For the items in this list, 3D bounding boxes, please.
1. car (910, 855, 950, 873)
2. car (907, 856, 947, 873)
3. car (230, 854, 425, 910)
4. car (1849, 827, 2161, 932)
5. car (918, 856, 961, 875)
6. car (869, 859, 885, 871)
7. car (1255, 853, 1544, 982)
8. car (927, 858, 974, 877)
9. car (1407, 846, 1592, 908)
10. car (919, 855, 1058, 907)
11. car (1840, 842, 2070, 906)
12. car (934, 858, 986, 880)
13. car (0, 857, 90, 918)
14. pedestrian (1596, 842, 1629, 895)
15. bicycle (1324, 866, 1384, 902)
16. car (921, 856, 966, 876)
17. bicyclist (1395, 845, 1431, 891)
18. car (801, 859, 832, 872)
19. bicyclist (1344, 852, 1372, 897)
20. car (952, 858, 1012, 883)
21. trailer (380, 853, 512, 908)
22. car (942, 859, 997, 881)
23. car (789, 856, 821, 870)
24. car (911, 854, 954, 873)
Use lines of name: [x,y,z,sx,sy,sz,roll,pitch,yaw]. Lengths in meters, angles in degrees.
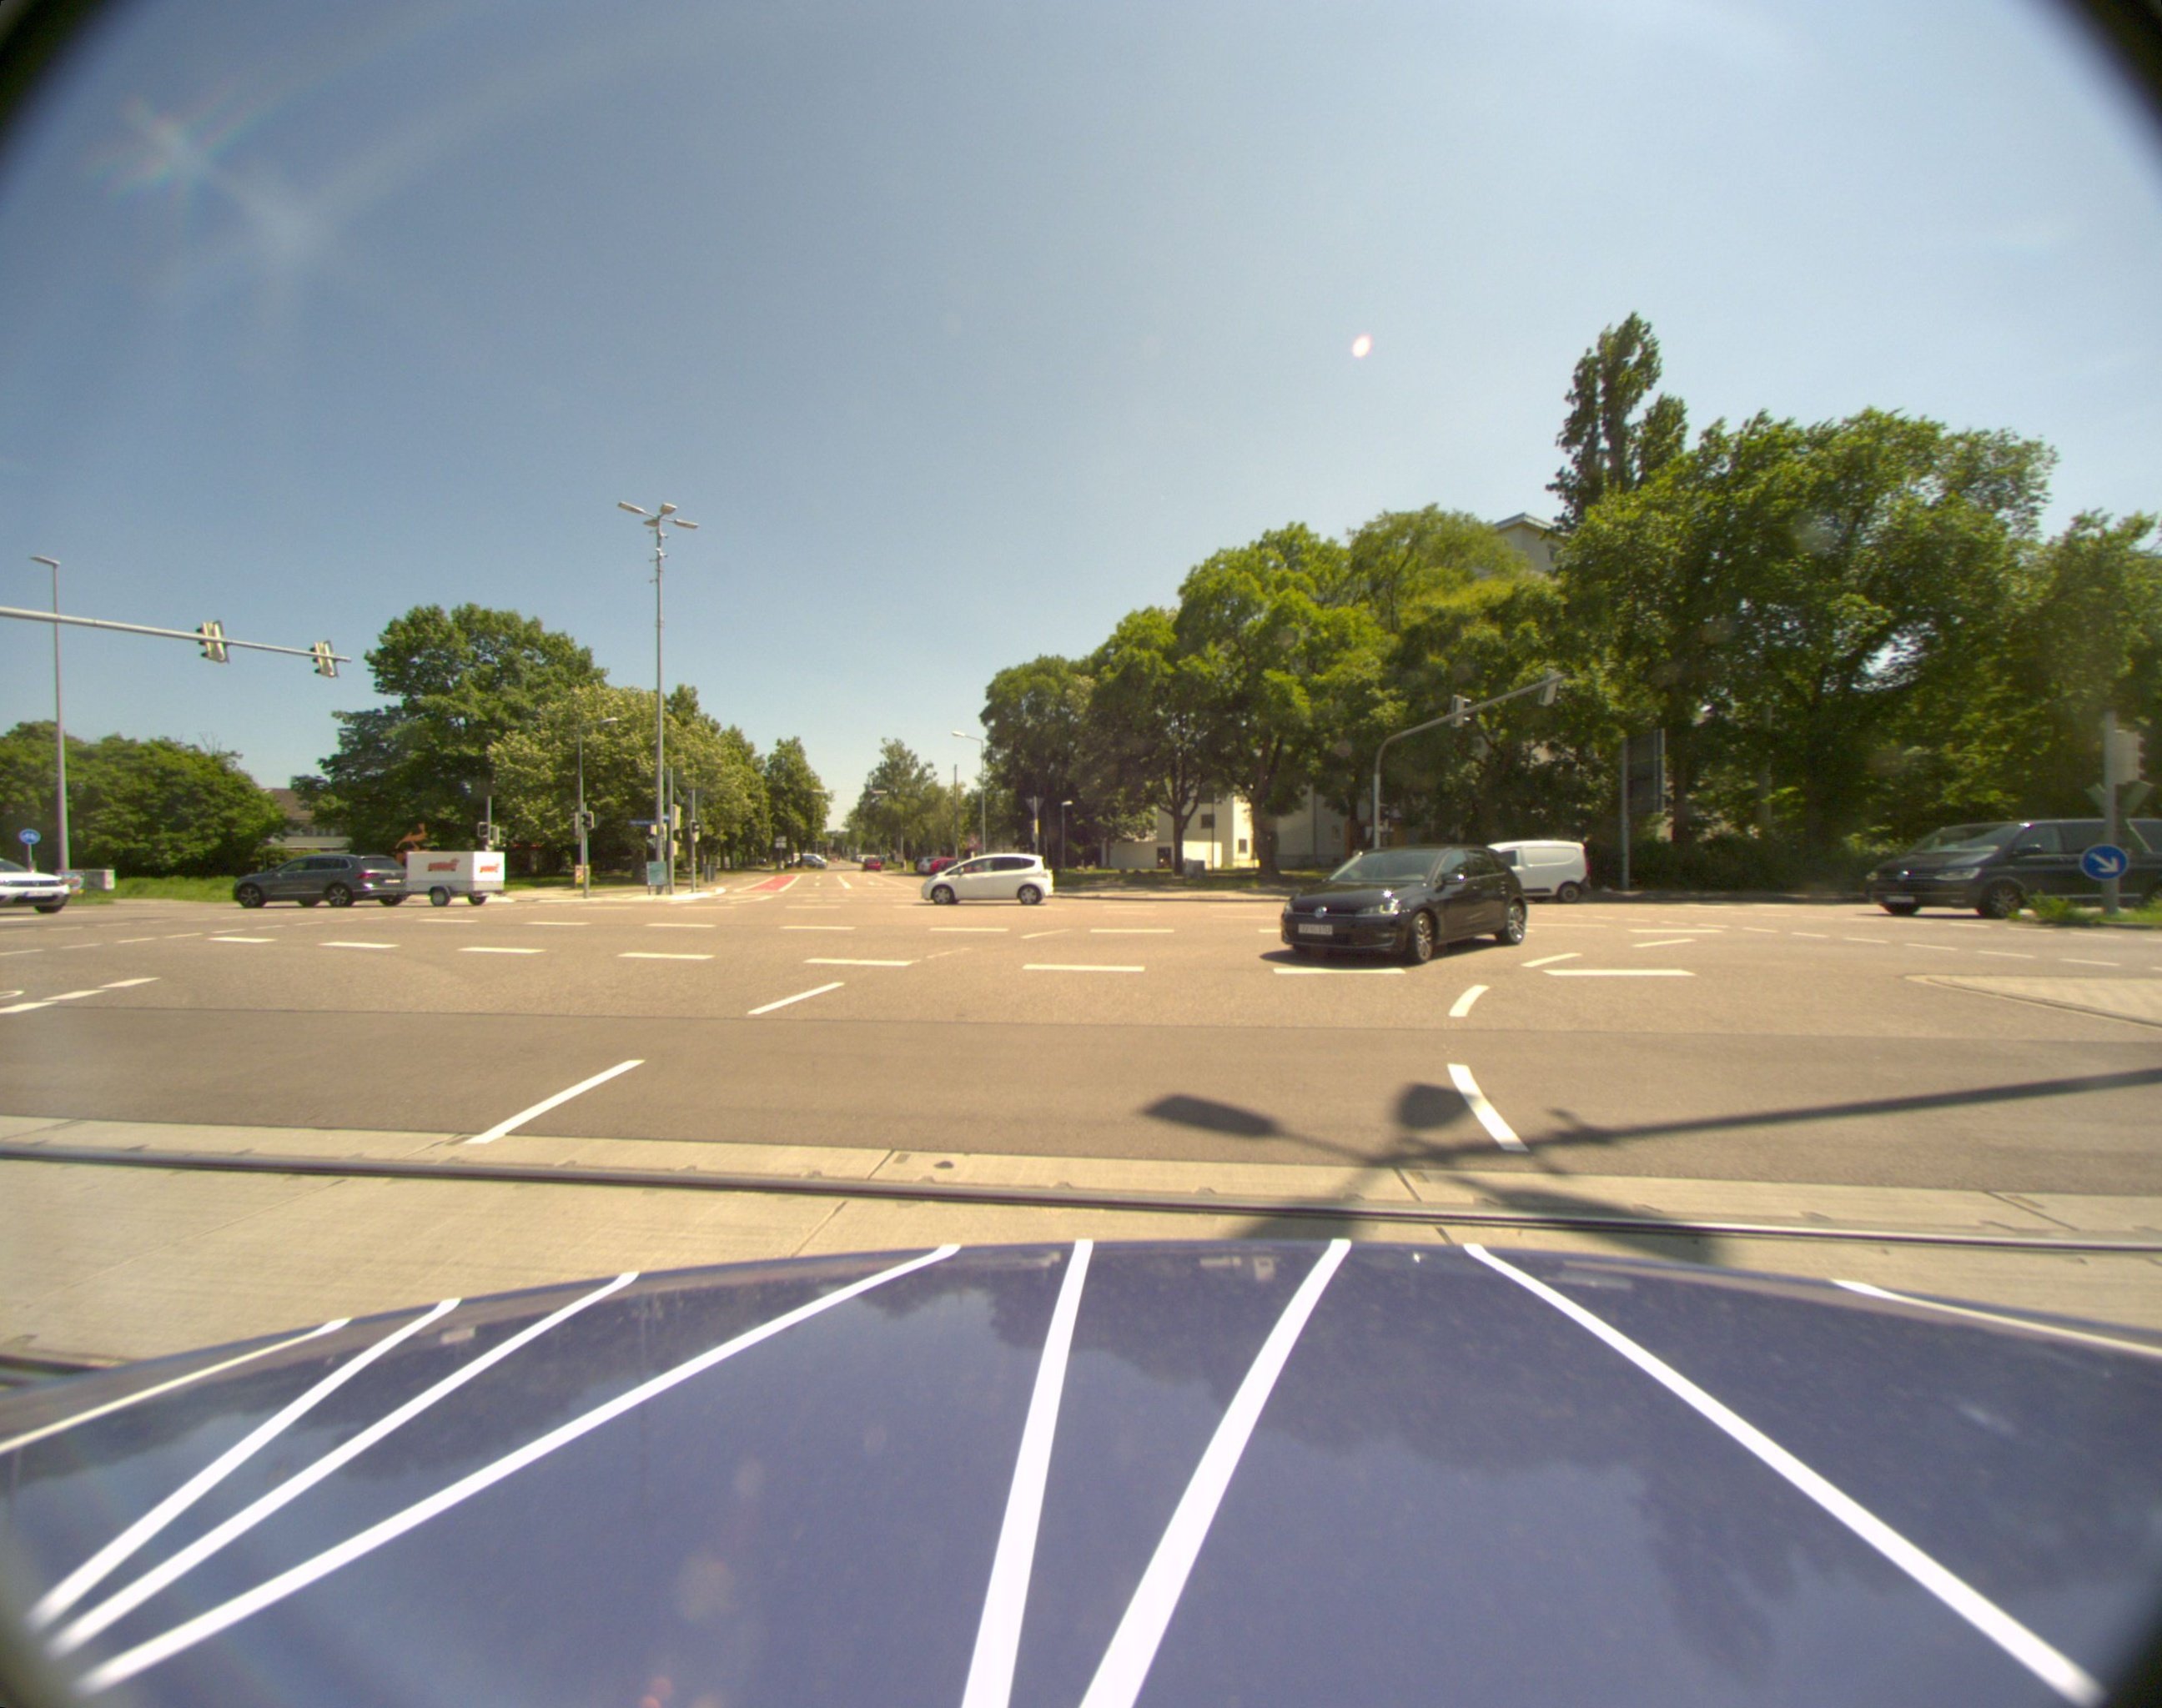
car: [-14.130,0.927,71.123,3.495,1.570,1.582,-2,-1,-20]
car: [-14.839,1.007,73.124,3.495,1.570,1.582,-2,-1,-20]
car: [-23.280,0.858,23.571,4.404,1.648,1.732,0,-1,2]
car: [18.639,0.473,15.015,4.842,1.920,1.943,0,1,2]
car: [-12.318,1.027,66.177,3.495,1.545,1.582,-2,-1,-20]
car: [-22.537,1.199,83.837,1.585,1.219,3.488,-2,-1,-17]
car: [4.368,0.713,10.185,4.061,1.396,1.705,0,-1,-37]
car: [-10.534,1.109,61.319,3.495,1.420,1.582,-2,-1,-20]
car: [11.990,0.648,21.976,4.339,1.707,1.812,0,-1,2]
car: [-2.681,0.781,22.704,3.895,1.496,1.732,0,-1,2]
car: [25.460,0.595,22.269,4.388,1.782,1.898,0,-2,2]
car: [-8.820,1.106,55.334,3.495,1.420,1.582,-2,-1,-20]
car: [-29.869,0.880,20.357,4.407,1.566,1.876,0,-1,3]
pedestrian: [18.258,0.491,26.109,0.678,1.825,0.607,0,1,1]
bicycle: [9.225,1.002,25.724,0.617,1.057,1.800,-2,4,-42]
car: [-11.555,0.972,63.899,3.495,1.545,1.582,-2,-1,-20]
bicyclist: [11.428,0.465,26.200,0.649,1.536,0.906,-2,4,-42]
car: [-32.341,1.411,92.897,3.495,1.467,1.582,-2,-1,-20]
bicyclist: [9.327,0.683,25.597,0.617,1.460,0.627,-2,4,-42]
car: [-6.335,1.064,48.489,3.495,1.420,1.582,-2,-1,-20]
trailer: [-19.584,0.808,23.514,2.935,1.645,1.409,0,-1,2]
car: [-7.824,1.147,53.171,3.495,1.420,1.582,-2,-1,-20]
car: [-35.257,1.158,97.217,3.777,1.718,1.759,-2,-1,-20]
car: [-13.312,0.854,68.073,3.495,1.545,1.582,-2,-1,-20]
